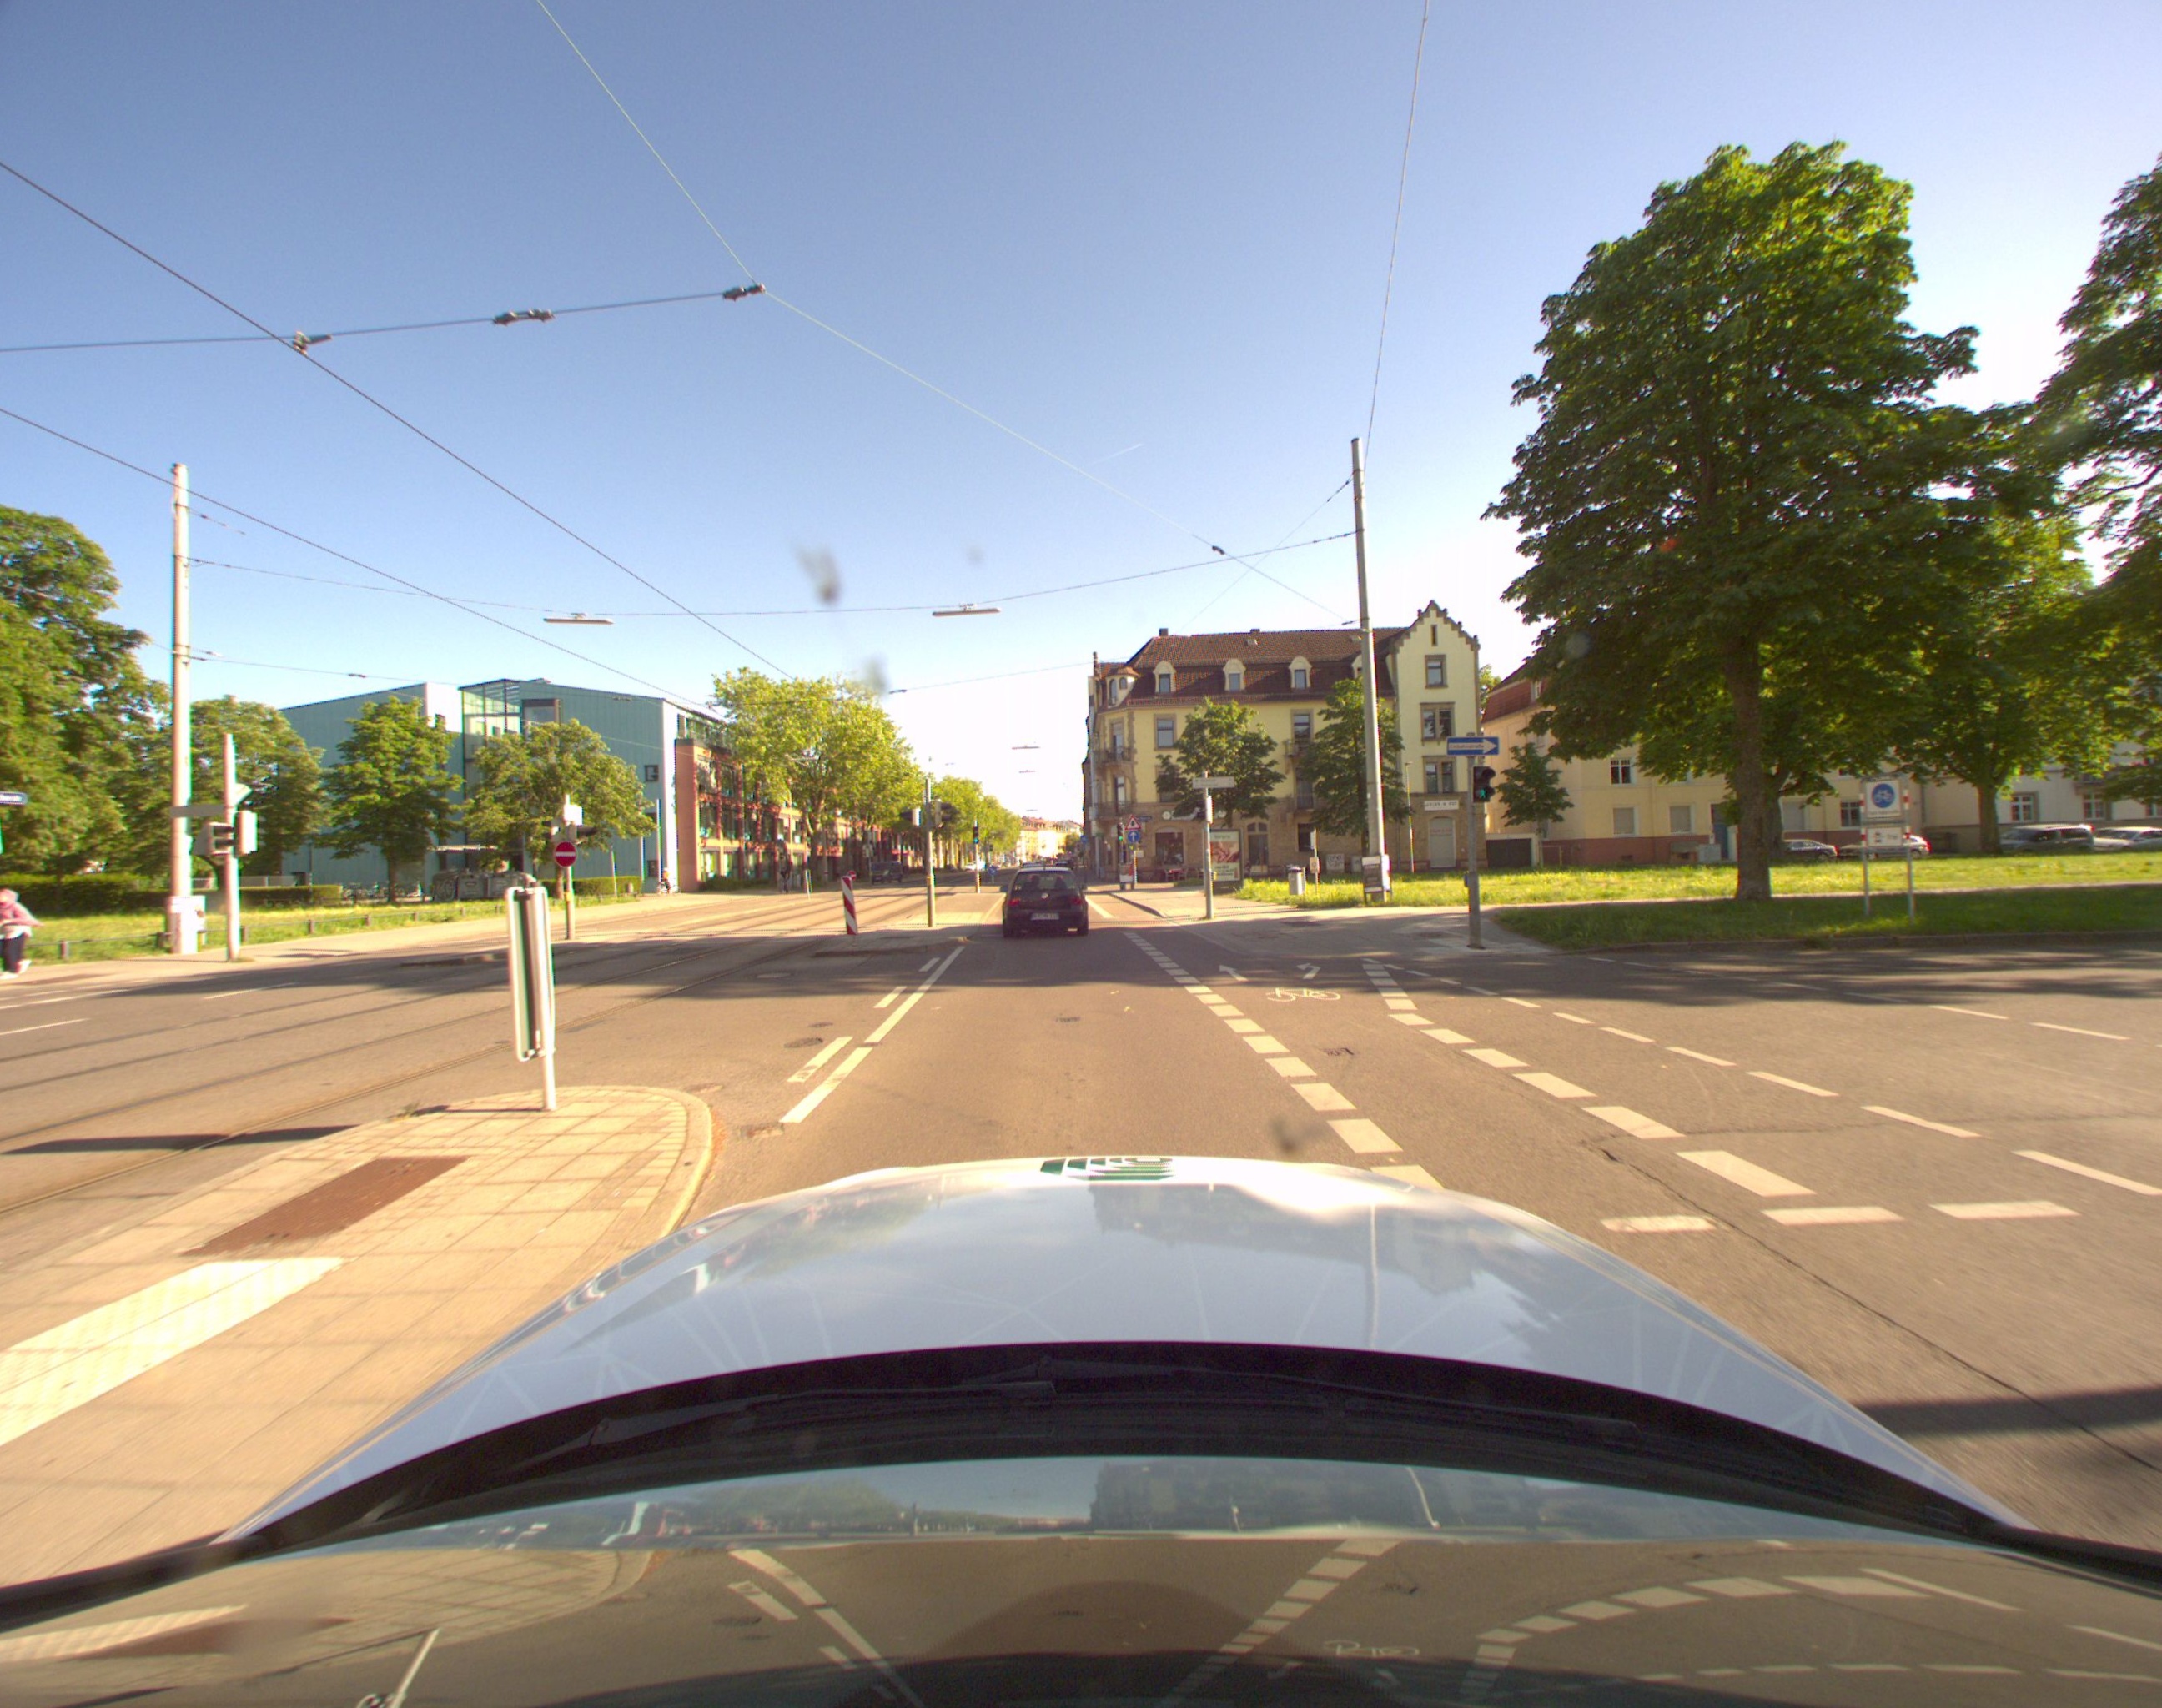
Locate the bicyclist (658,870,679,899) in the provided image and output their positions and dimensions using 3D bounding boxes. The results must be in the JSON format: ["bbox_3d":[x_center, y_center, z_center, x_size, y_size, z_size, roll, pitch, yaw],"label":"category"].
[{"bbox_3d":[-25.043,1.840,49.435,0.599,1.692,0.938,0,-1,24],"label":"bicyclist"}]

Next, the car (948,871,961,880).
[{"bbox_3d":[-21.403,3.665,137.820,1.502,1.454,3.462,-3,-2,0],"label":"car"}]

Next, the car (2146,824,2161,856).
[{"bbox_3d":[66.304,-0.853,48.312,3.680,1.882,1.928,0,0,1],"label":"car"}]

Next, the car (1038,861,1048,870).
[{"bbox_3d":[-6.980,2.121,151.519,1.631,1.472,3.728,-2,0,0],"label":"car"}]

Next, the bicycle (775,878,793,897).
[{"bbox_3d":[-19.782,2.229,54.264,0.585,1.113,1.824,-3,0,-3],"label":"bicycle"}]

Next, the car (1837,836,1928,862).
[{"bbox_3d":[47.498,-0.274,48.321,3.680,1.513,1.735,0,0,1],"label":"car"}]

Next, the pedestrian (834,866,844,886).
[{"bbox_3d":[-24.923,2.232,83.827,0.910,2.014,0.778,0,-1,-9],"label":"pedestrian"}]

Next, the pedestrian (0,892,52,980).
[{"bbox_3d":[-19.502,1.493,14.978,0.616,1.557,0.683,-1,-1,41],"label":"pedestrian"}]

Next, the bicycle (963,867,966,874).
[{"bbox_3d":[-22.330,3.144,156.400,0.580,1.209,1.650,0,0,-6],"label":"bicycle"}]

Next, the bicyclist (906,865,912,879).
[{"bbox_3d":[-20.007,2.061,94.653,0.645,1.611,0.778,0,0,-9],"label":"bicyclist"}]

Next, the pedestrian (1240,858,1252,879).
[{"bbox_3d":[10.531,0.907,51.863,0.636,1.360,0.701,0,0,0],"label":"pedestrian"}]

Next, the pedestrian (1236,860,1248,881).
[{"bbox_3d":[10.248,1.034,51.893,0.636,1.360,0.701,0,0,0],"label":"pedestrian"}]

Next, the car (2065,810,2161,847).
[{"bbox_3d":[54.893,-1.319,42.798,4.038,1.882,1.928,0,0,1],"label":"car"}]

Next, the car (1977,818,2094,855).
[{"bbox_3d":[49.618,-0.900,42.387,3.675,1.882,1.931,0,0,5],"label":"car"}]

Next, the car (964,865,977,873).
[{"bbox_3d":[-21.910,3.032,161.981,2.006,1.572,4.690,0,0,-2],"label":"car"}]

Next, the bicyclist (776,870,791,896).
[{"bbox_3d":[-19.791,1.928,54.234,0.585,1.711,0.900,-3,0,-3],"label":"bicyclist"}]

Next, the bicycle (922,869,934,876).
[{"bbox_3d":[-27.019,3.261,144.039,2.002,1.278,0.664,-1,0,-1],"label":"bicycle"}]

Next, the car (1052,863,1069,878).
[{"bbox_3d":[-2.134,1.680,84.249,1.650,1.482,3.998,-1,-1,-1],"label":"car"}]

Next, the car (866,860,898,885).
[{"bbox_3d":[-17.773,1.631,73.015,2.017,2.013,5.239,-4,1,-6],"label":"car"}]

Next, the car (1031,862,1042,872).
[{"bbox_3d":[-7.149,2.076,131.541,1.631,1.472,3.728,-2,-1,0],"label":"car"}]

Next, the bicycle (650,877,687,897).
[{"bbox_3d":[-25.041,2.009,49.426,0.626,1.129,2.047,0,0,24],"label":"bicycle"}]

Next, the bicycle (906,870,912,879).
[{"bbox_3d":[-20.016,2.376,94.684,0.644,1.042,1.919,0,0,-9],"label":"bicycle"}]

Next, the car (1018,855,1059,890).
[{"bbox_3d":[-2.008,0.867,39.431,1.743,1.538,3.891,-2,0,0],"label":"car"}]

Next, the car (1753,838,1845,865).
[{"bbox_3d":[42.905,-0.165,48.705,3.824,1.605,1.830,0,1,3],"label":"car"}]

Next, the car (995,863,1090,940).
[{"bbox_3d":[-0.789,0.917,17.386,1.744,1.375,3.997,-2,0,-2],"label":"car"}]
